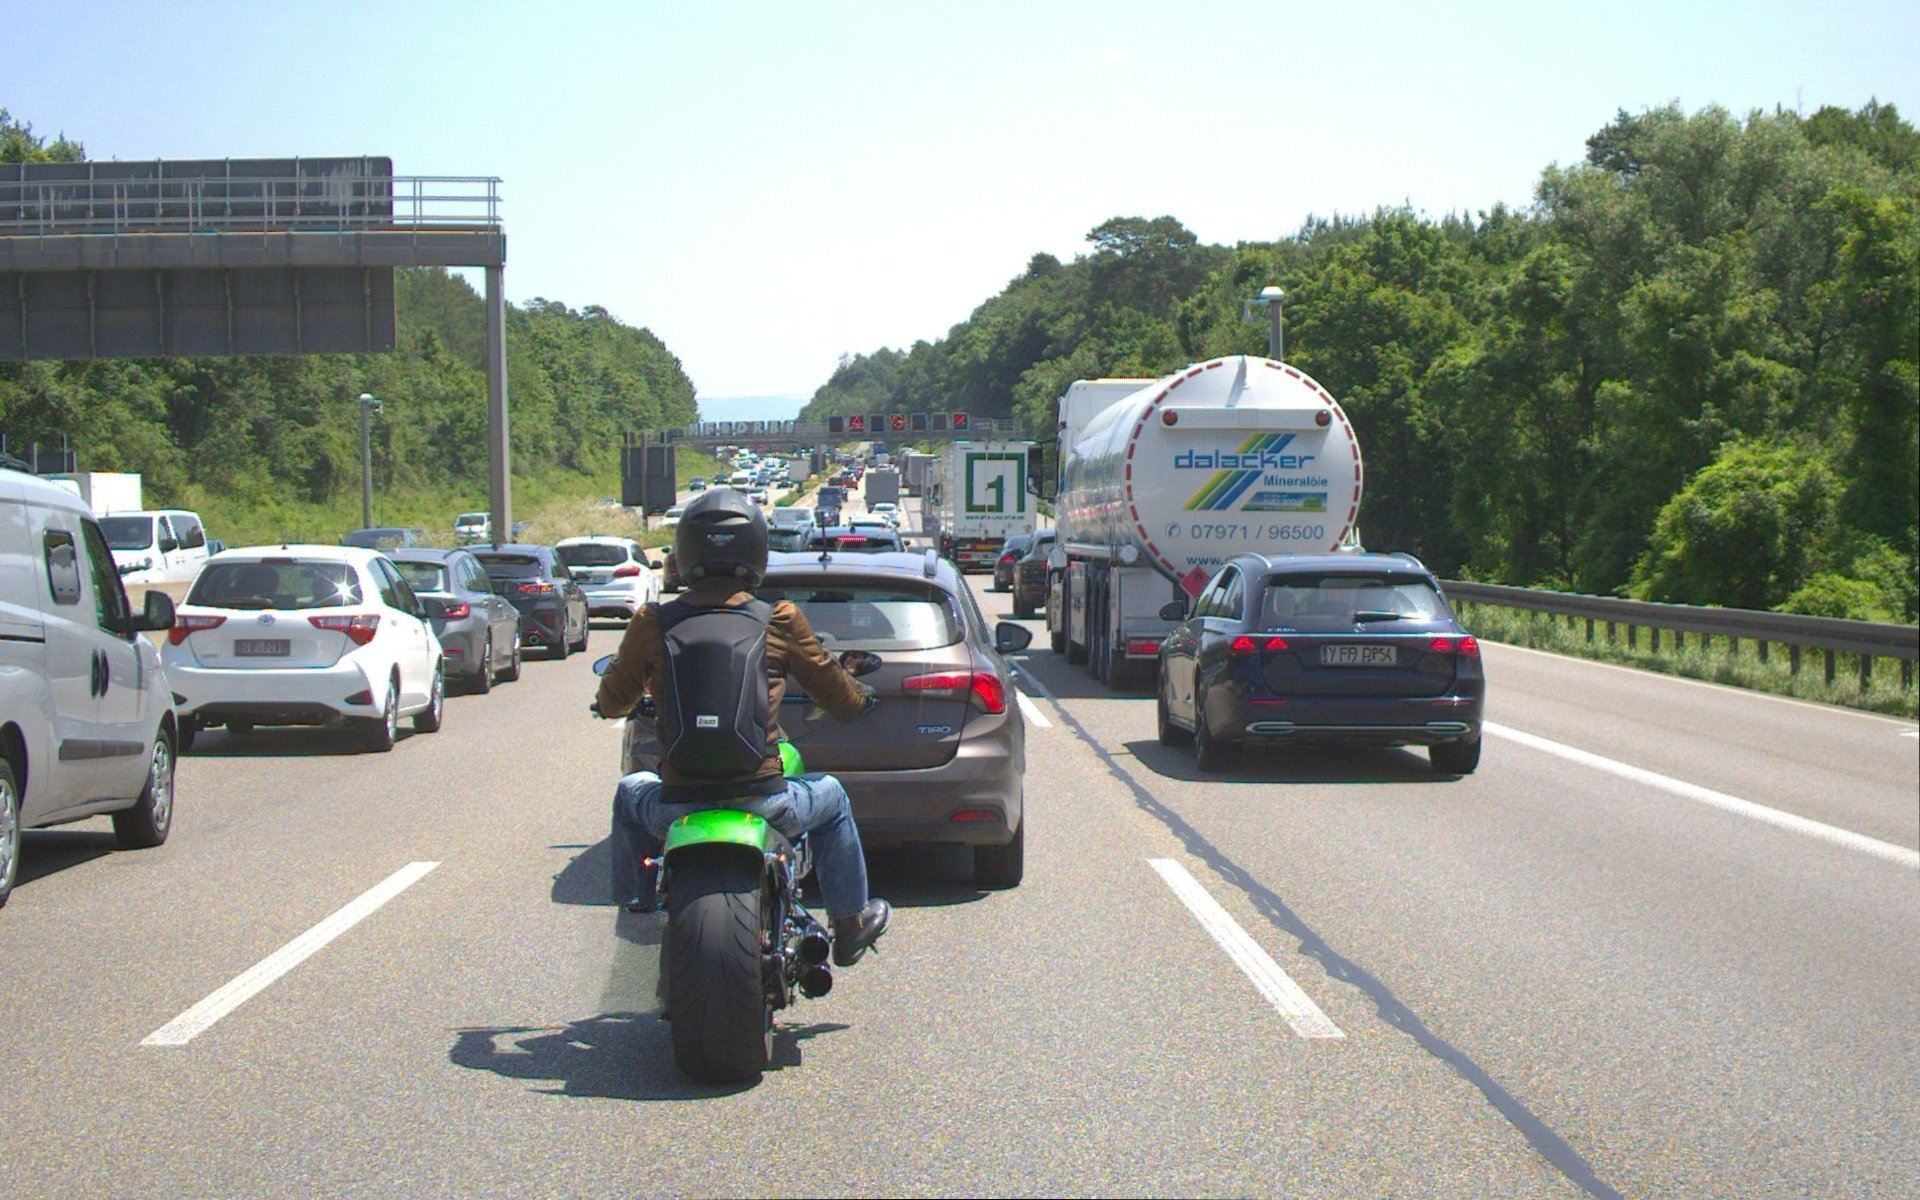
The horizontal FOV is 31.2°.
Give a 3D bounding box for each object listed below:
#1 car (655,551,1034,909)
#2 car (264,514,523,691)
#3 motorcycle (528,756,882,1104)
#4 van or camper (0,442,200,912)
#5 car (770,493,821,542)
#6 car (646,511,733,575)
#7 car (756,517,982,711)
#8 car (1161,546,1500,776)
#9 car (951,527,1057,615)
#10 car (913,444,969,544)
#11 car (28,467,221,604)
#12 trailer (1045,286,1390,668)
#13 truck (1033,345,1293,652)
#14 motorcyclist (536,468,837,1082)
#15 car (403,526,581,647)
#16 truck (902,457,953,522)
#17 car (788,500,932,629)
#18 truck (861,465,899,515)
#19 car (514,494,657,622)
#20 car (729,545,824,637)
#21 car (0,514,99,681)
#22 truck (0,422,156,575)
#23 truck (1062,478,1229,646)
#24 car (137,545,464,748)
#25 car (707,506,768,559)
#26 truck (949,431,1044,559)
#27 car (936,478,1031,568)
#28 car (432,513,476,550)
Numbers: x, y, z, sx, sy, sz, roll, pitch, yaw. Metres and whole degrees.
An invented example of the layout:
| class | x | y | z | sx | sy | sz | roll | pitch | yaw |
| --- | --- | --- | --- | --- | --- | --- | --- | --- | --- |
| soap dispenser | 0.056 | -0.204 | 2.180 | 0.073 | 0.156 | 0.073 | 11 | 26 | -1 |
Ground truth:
| class | x | y | z | sx | sy | sz | roll | pitch | yaw |
| --- | --- | --- | --- | --- | --- | --- | --- | --- | --- |
| car | -0.514 | 0.504 | 16.079 | 1.541 | 1.445 | 4.000 | 0 | 1 | -1 |
| car | -5.694 | 0.016 | 35.060 | 1.993 | 1.678 | 4.330 | 0 | 0 | -1 |
| motorcycle | -0.706 | 0.934 | 10.325 | 0.936 | 0.790 | 2.299 | 0 | 1 | -1 |
| van or camper | -4.797 | 0.254 | 15.449 | 1.853 | 1.874 | 4.562 | 0 | 1 | -1 |
| car | -6.857 | -3.437 | 143.518 | 1.993 | 2.007 | 4.000 | -1 | 1 | -1 |
| car | -6.343 | -1.313 | 80.892 | 1.764 | 1.437 | 4.000 | 0 | 0 | -1 |
| car | -0.876 | 0.119 | 32.486 | 1.993 | 1.705 | 4.000 | 0 | 0 | -2 |
| car | 2.498 | 0.384 | 24.249 | 1.792 | 1.453 | 4.624 | 0 | 0 | -1 |
| car | 0.766 | -0.512 | 62.240 | 1.776 | 1.522 | 4.000 | 0 | 0 | -1 |
| car | -0.822 | -4.331 | 142.394 | 2.167 | 3.879 | 9.330 | 0 | 0 | -1 |
| car | -12.805 | -0.957 | 52.906 | 1.993 | 2.007 | 4.000 | 0 | 0 | 0 |
| trailer | 2.620 | -1.198 | 38.544 | 2.828 | 3.658 | 10.733 | 0 | 0 | -1 |
| truck | 2.499 | -1.220 | 44.422 | 2.828 | 3.658 | 6.430 | 0 | 0 | -1 |
| motorcyclist | -0.769 | 0.481 | 9.955 | 0.799 | 1.682 | 1.016 | 0 | 0 | -1 |
| car | -5.920 | -0.173 | 43.900 | 1.993 | 1.459 | 4.001 | 0 | 0 | -4 |
| truck | -1.841 | -6.105 | 191.899 | 2.696 | 3.394 | 10.479 | -1 | 1 | -1 |
| car | -1.456 | -0.501 | 49.670 | 1.993 | 1.769 | 4.000 | 0 | 0 | -2 |
| truck | -5.814 | -7.973 | 250.733 | 2.696 | 3.394 | 10.479 | -1 | 1 | -1 |
| car | -6.099 | -0.672 | 56.367 | 1.993 | 2.007 | 4.000 | 0 | 0 | -2 |
| car | -4.082 | -0.205 | 77.119 | 1.993 | 2.007 | 4.000 | 0 | 0 | -1 |
| car | -9.493 | -0.055 | 32.495 | 1.824 | 1.489 | 4.001 | 0 | 1 | -2 |
| truck | -24.379 | -2.708 | 94.686 | 2.692 | 3.976 | 7.991 | 0 | 0 | -1 |
| truck | 3.400 | -0.743 | 64.849 | 2.388 | 2.969 | 8.253 | 0 | 1 | -2 |
| car | -4.904 | 0.322 | 26.063 | 1.776 | 1.406 | 4.000 | 0 | 0 | -1 |
| car | -6.877 | -2.083 | 106.483 | 1.660 | 1.594 | 4.000 | 0 | 1 | -1 |
| truck | 1.199 | -3.229 | 108.109 | 2.854 | 3.808 | 7.187 | 0 | 0 | 2 |
| car | 0.523 | -1.769 | 80.496 | 1.993 | 2.007 | 4.000 | 0 | 0 | -3 |
| car | -27.932 | -3.788 | 189.898 | 1.900 | 2.007 | 4.000 | -1 | 1 | -1 |
